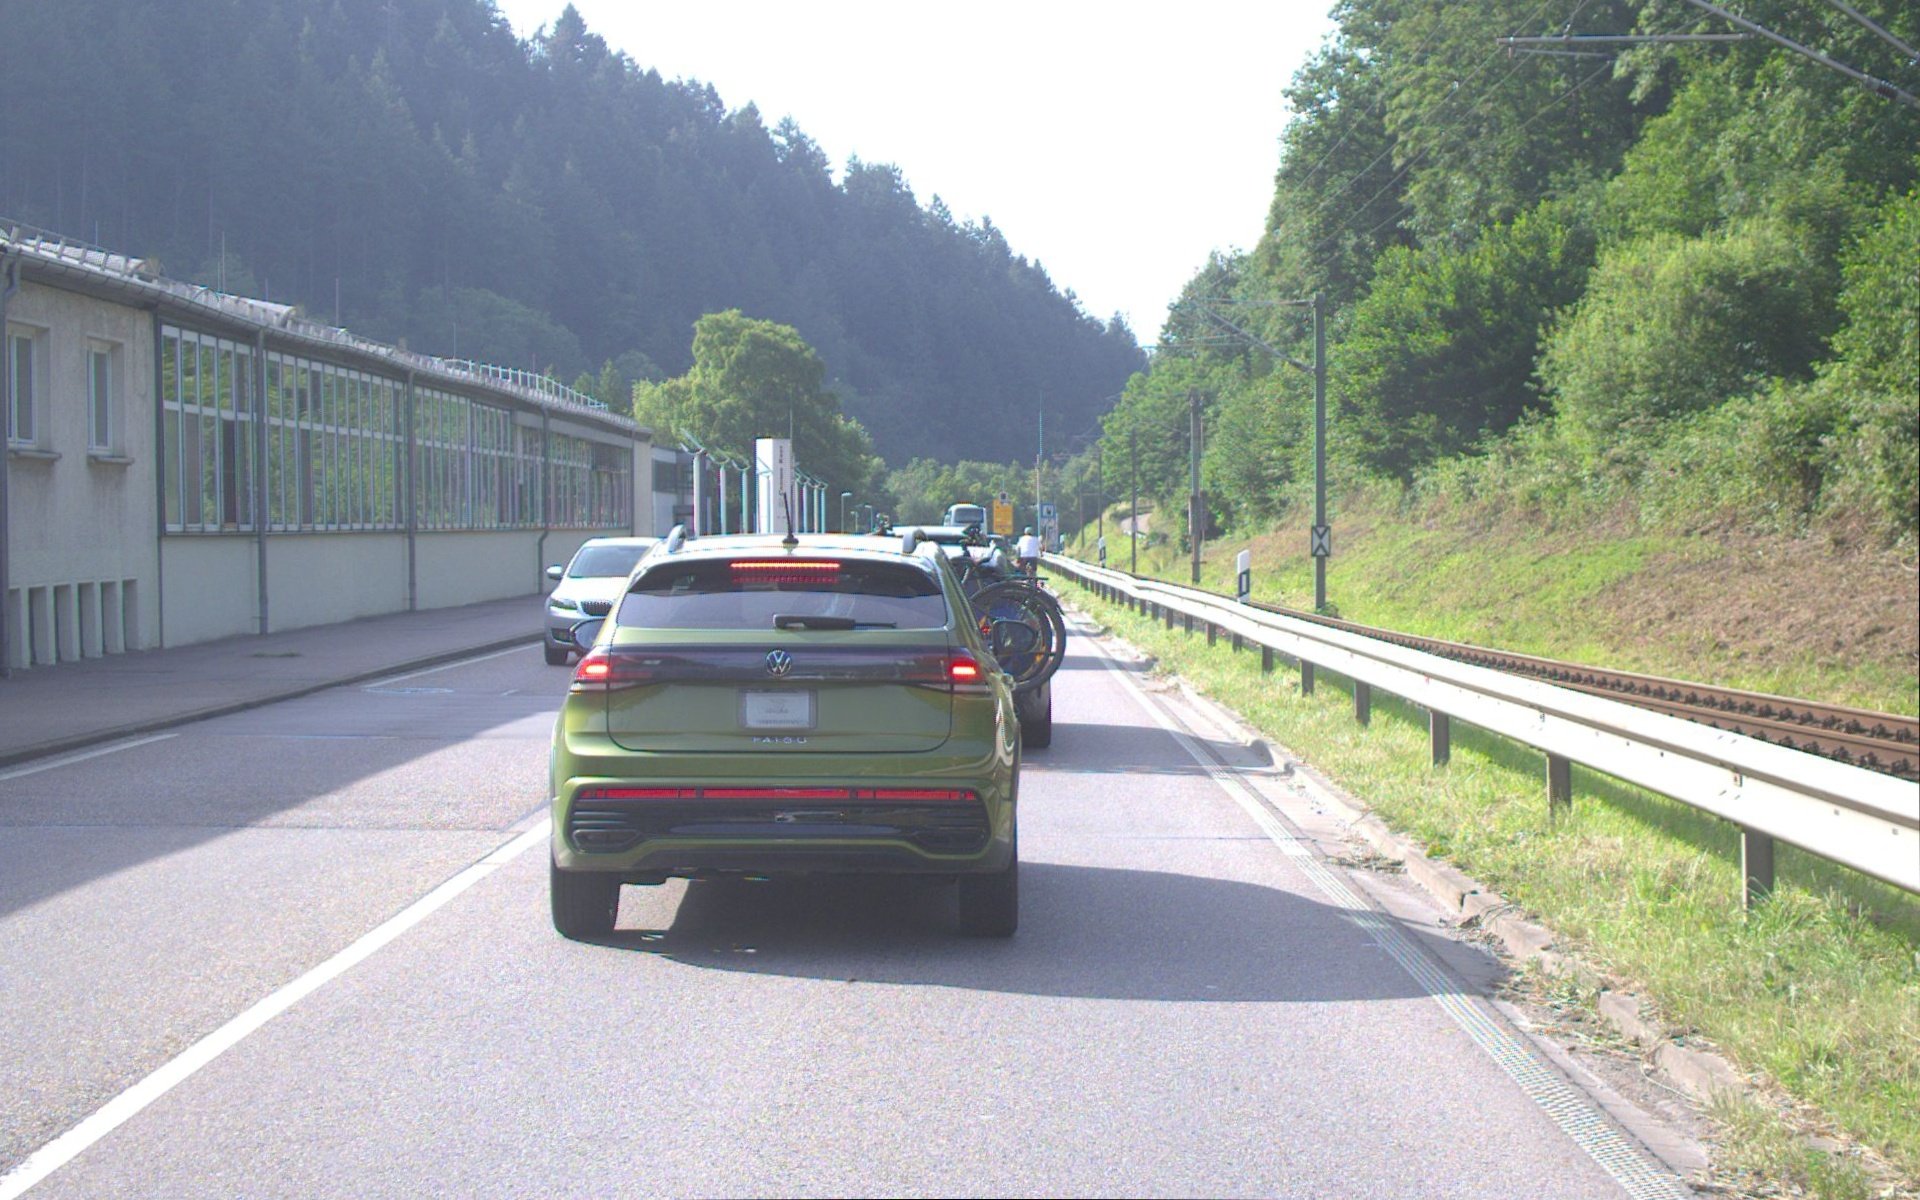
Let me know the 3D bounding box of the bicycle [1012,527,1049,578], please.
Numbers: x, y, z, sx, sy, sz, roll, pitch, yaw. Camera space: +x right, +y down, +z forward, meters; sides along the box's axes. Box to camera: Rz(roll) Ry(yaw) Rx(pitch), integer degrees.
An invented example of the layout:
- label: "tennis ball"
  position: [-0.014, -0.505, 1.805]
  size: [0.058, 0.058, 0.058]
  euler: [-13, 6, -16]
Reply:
- label: "bicycle"
  position: [1.740, -1.192, 85.523]
  size: [0.811, 1.246, 2.123]
  euler: [0, 1, -2]

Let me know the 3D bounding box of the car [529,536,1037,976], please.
- label: "car"
  position: [-0.629, 0.499, 13.797]
  size: [1.739, 1.503, 4.000]
  euler: [0, 1, -1]

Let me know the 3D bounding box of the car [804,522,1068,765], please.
- label: "car"
  position: [-0.182, 0.250, 24.816]
  size: [1.739, 1.596, 4.000]
  euler: [0, 1, -1]

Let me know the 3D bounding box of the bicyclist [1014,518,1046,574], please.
- label: "bicyclist"
  position: [1.741, -1.346, 85.655]
  size: [0.782, 1.407, 0.675]
  euler: [0, 1, -2]

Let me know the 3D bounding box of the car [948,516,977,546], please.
- label: "car"
  position: [0.160, -4.836, 242.032]
  size: [1.993, 2.007, 4.000]
  euler: [1, 1, -1]

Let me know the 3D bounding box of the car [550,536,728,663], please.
- label: "car"
  position: [-3.711, -0.044, 40.277]
  size: [1.739, 1.388, 4.110]
  euler: [0, 1, -1]

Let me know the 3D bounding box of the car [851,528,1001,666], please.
- label: "car"
  position: [-0.416, -0.071, 42.193]
  size: [1.739, 1.596, 4.000]
  euler: [0, 1, -1]

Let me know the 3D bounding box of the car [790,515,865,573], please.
- label: "car"
  position: [-3.780, -1.615, 98.862]
  size: [1.930, 1.576, 4.458]
  euler: [2, 1, 0]

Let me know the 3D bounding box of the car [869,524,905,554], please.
- label: "car"
  position: [-3.813, -3.210, 179.973]
  size: [1.719, 1.509, 4.199]
  euler: [1, 1, 0]
